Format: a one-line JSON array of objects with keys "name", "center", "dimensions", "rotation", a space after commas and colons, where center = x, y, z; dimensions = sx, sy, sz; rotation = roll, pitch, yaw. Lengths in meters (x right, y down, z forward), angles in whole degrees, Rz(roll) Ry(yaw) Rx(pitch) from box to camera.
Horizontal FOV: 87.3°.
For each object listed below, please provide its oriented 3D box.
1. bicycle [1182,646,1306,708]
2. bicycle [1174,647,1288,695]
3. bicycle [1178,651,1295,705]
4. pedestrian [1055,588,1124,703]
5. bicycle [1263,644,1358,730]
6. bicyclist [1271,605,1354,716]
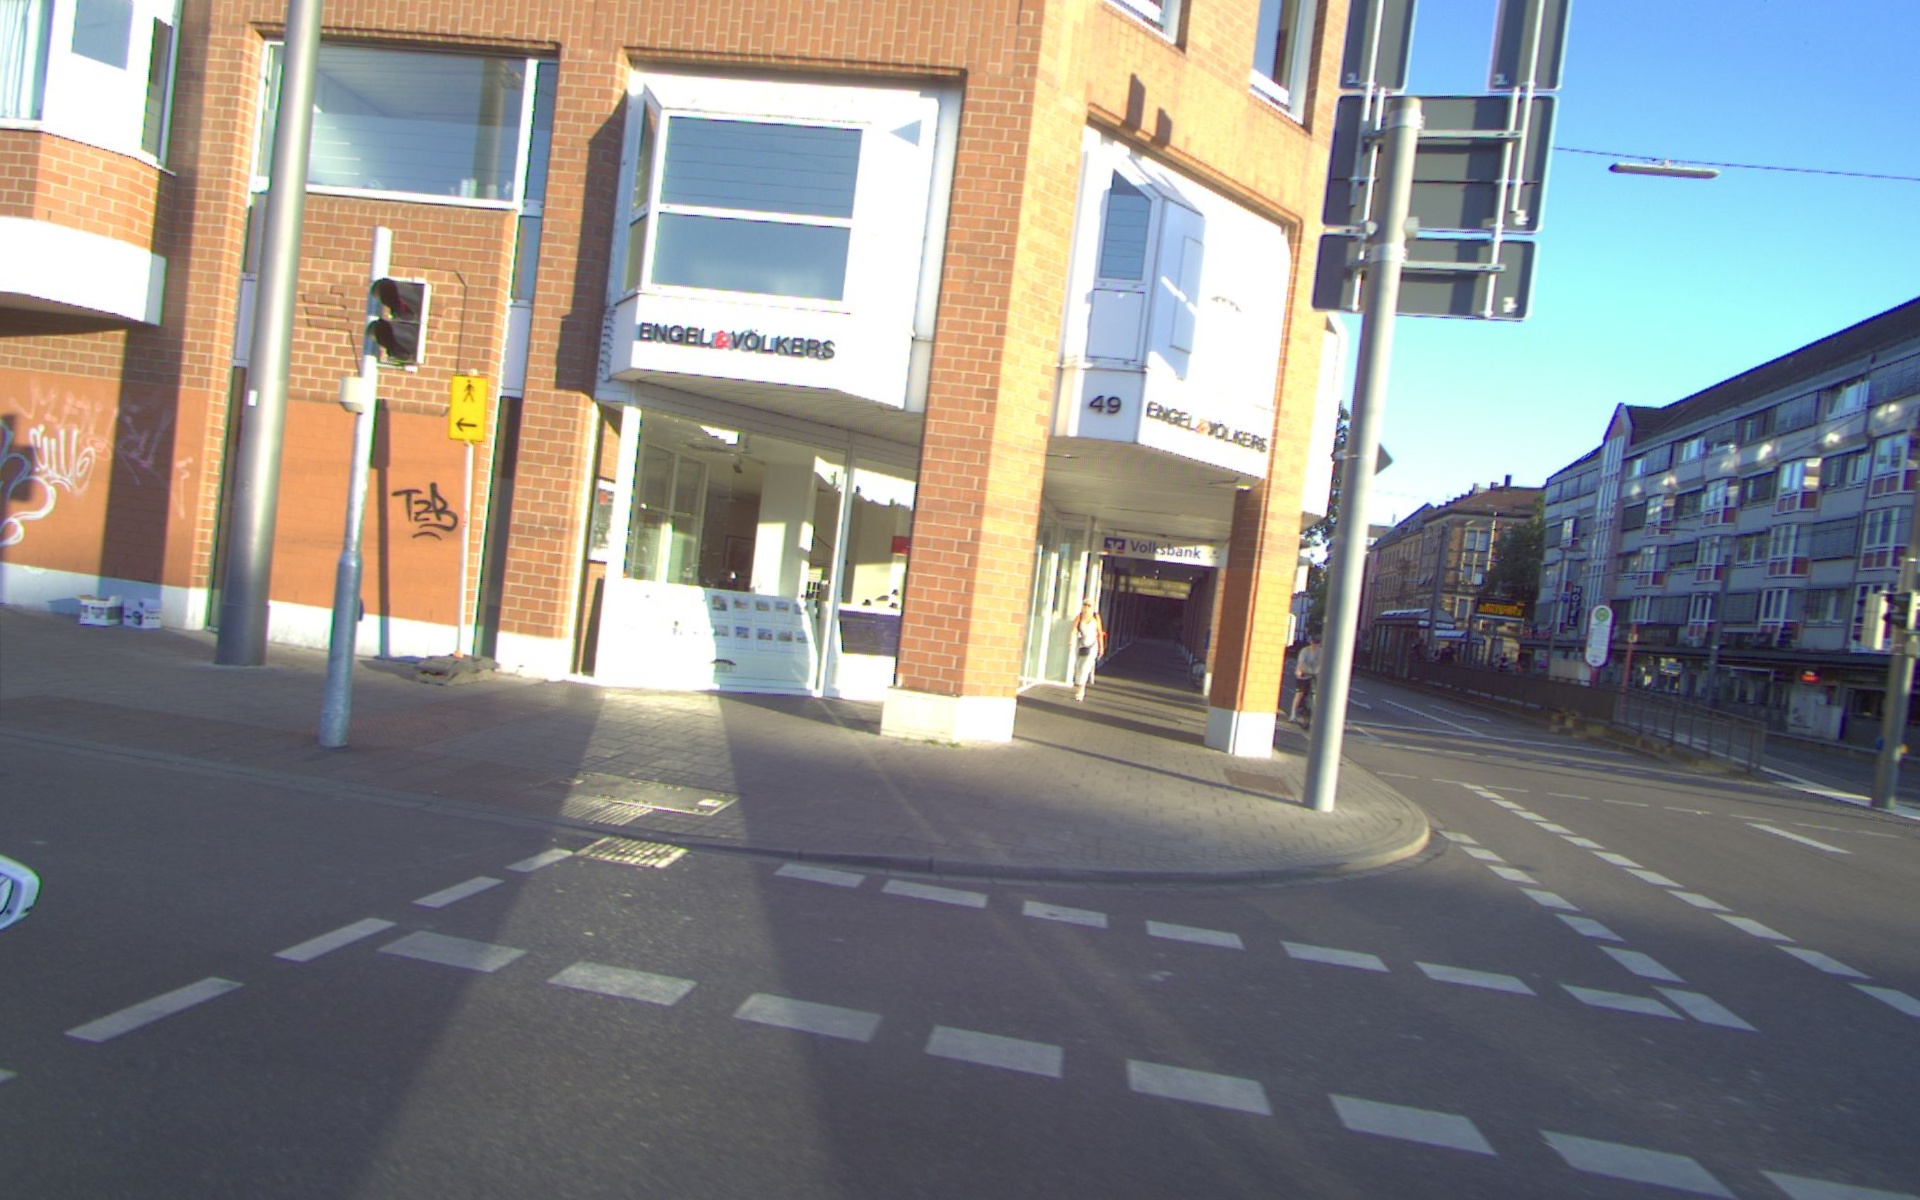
[{"name": "bicycle", "center": [6.732, 1.816, 24.017], "dimensions": [2.687, 1.116, 0.813], "rotation": [7, 1, 12]}, {"name": "bicycle", "center": [6.995, 1.824, 26.086], "dimensions": [2.687, 0.874, 0.813], "rotation": [7, 0, 8]}, {"name": "bicycle", "center": [6.821, 1.917, 24.958], "dimensions": [2.687, 0.984, 0.813], "rotation": [6, -1, 12]}, {"name": "pedestrian", "center": [2.195, 0.759, 16.953], "dimensions": [0.798, 1.774, 0.930], "rotation": [9, 2, 13]}, {"name": "bicycle", "center": [6.640, 1.595, 19.248], "dimensions": [0.999, 1.307, 2.798], "rotation": [10, 0, 8]}, {"name": "bicyclist", "center": [6.701, 1.132, 19.212], "dimensions": [0.995, 1.884, 1.235], "rotation": [10, 1, 8]}]
